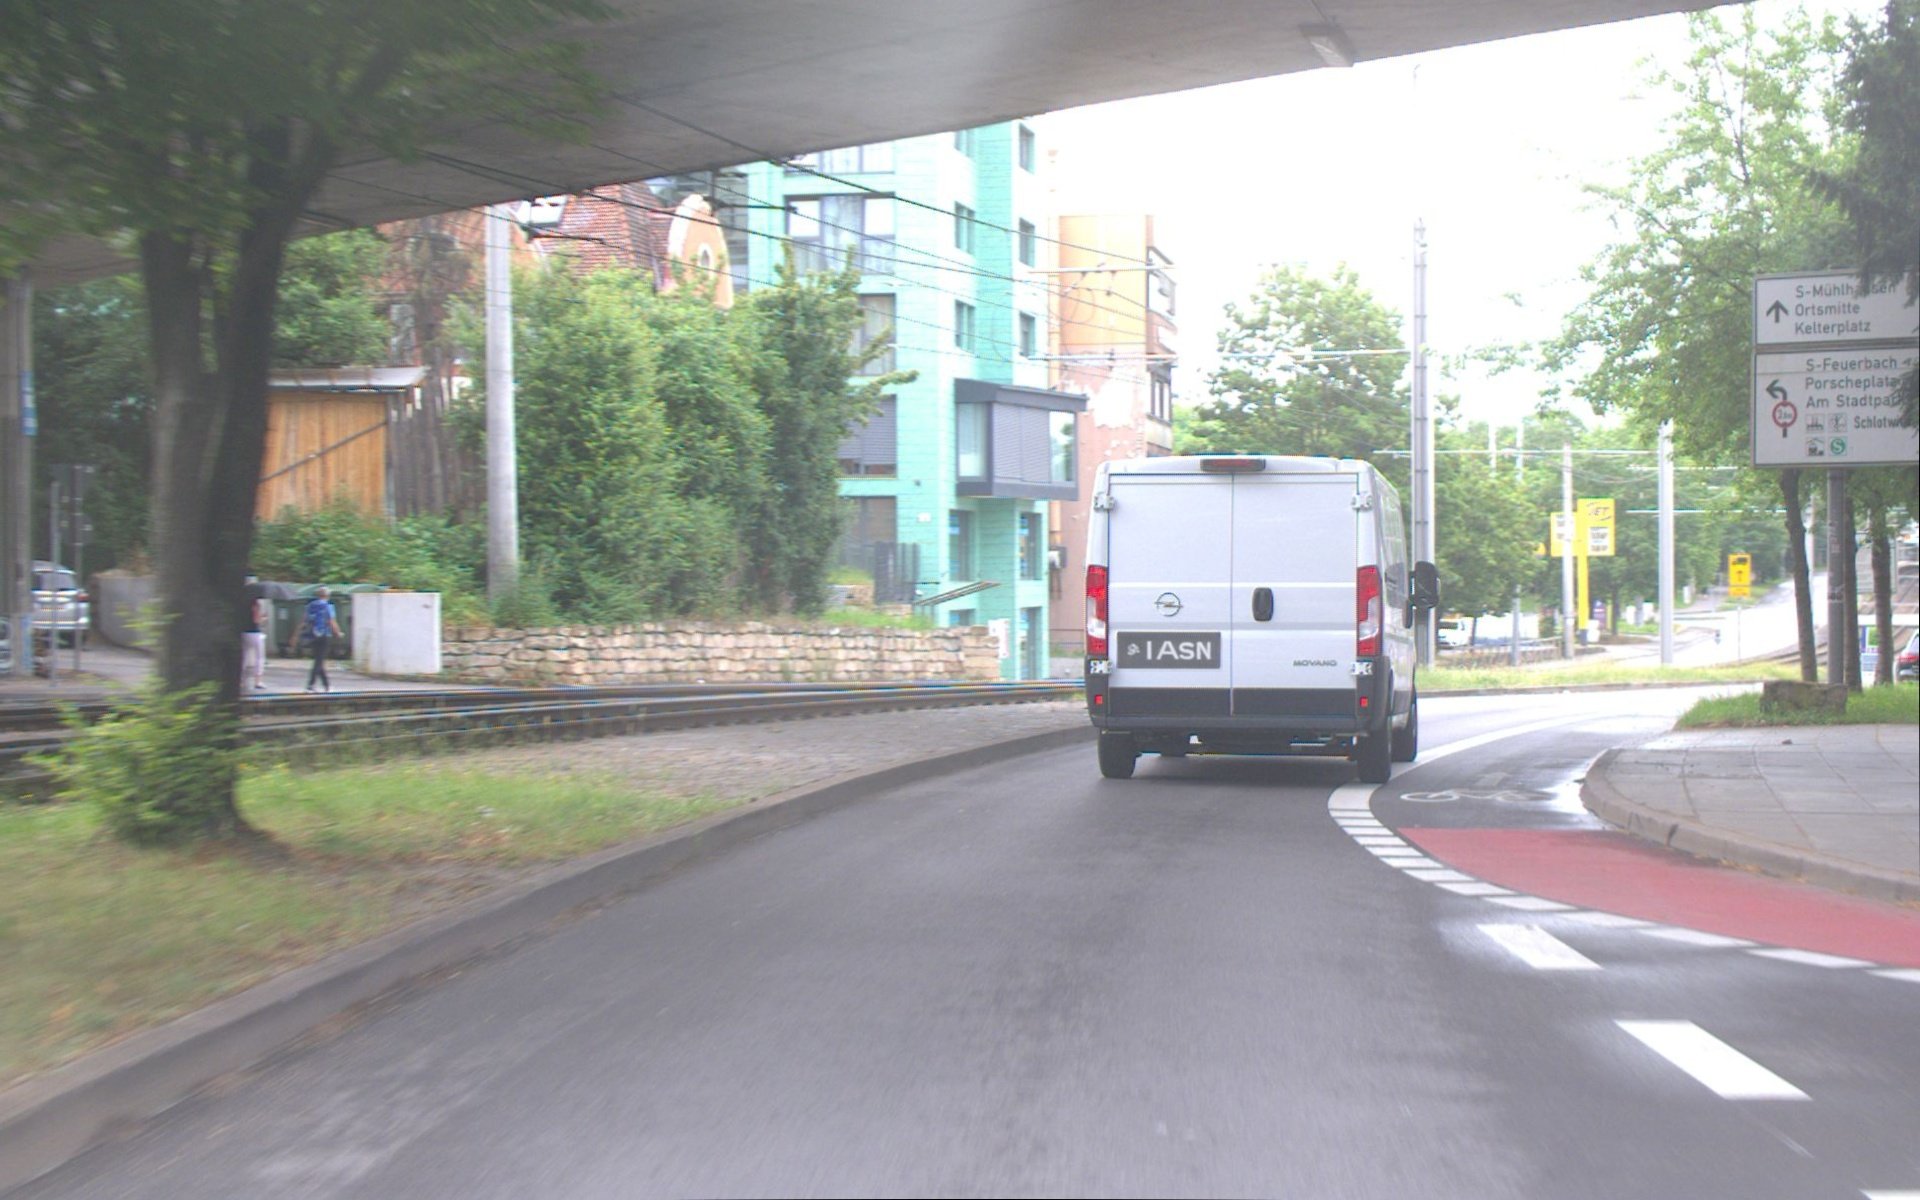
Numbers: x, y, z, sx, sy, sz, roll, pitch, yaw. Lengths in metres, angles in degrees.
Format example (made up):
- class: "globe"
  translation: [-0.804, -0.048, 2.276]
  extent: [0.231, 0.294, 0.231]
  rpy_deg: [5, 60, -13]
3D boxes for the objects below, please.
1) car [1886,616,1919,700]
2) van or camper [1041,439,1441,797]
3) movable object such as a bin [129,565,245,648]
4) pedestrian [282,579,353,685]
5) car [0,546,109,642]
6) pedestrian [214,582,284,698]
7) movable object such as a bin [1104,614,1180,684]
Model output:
- class: "car"
  translation: [17.350, 1.043, 60.138]
  extent: [1.679, 1.418, 4.560]
  rpy_deg: [1, -1, 22]
- class: "van or camper"
  translation: [2.139, 0.135, 24.722]
  extent: [2.200, 2.245, 4.681]
  rpy_deg: [2, 0, 12]
- class: "movable object such as a bin"
  translation: [-14.828, 0.120, 65.903]
  extent: [1.557, 1.474, 1.802]
  rpy_deg: [1, 1, -35]
- class: "pedestrian"
  translation: [-10.212, 0.504, 54.647]
  extent: [0.694, 1.664, 0.887]
  rpy_deg: [1, 0, 23]
- class: "car"
  translation: [-17.782, -0.149, 66.258]
  extent: [1.714, 1.662, 3.198]
  rpy_deg: [3, 1, -32]
- class: "pedestrian"
  translation: [-11.343, 0.626, 54.852]
  extent: [0.694, 1.824, 0.865]
  rpy_deg: [1, 0, 20]
- class: "movable object such as a bin"
  translation: [5.962, 1.601, 112.477]
  extent: [2.135, 2.149, 1.801]
  rpy_deg: [2, 1, 12]
